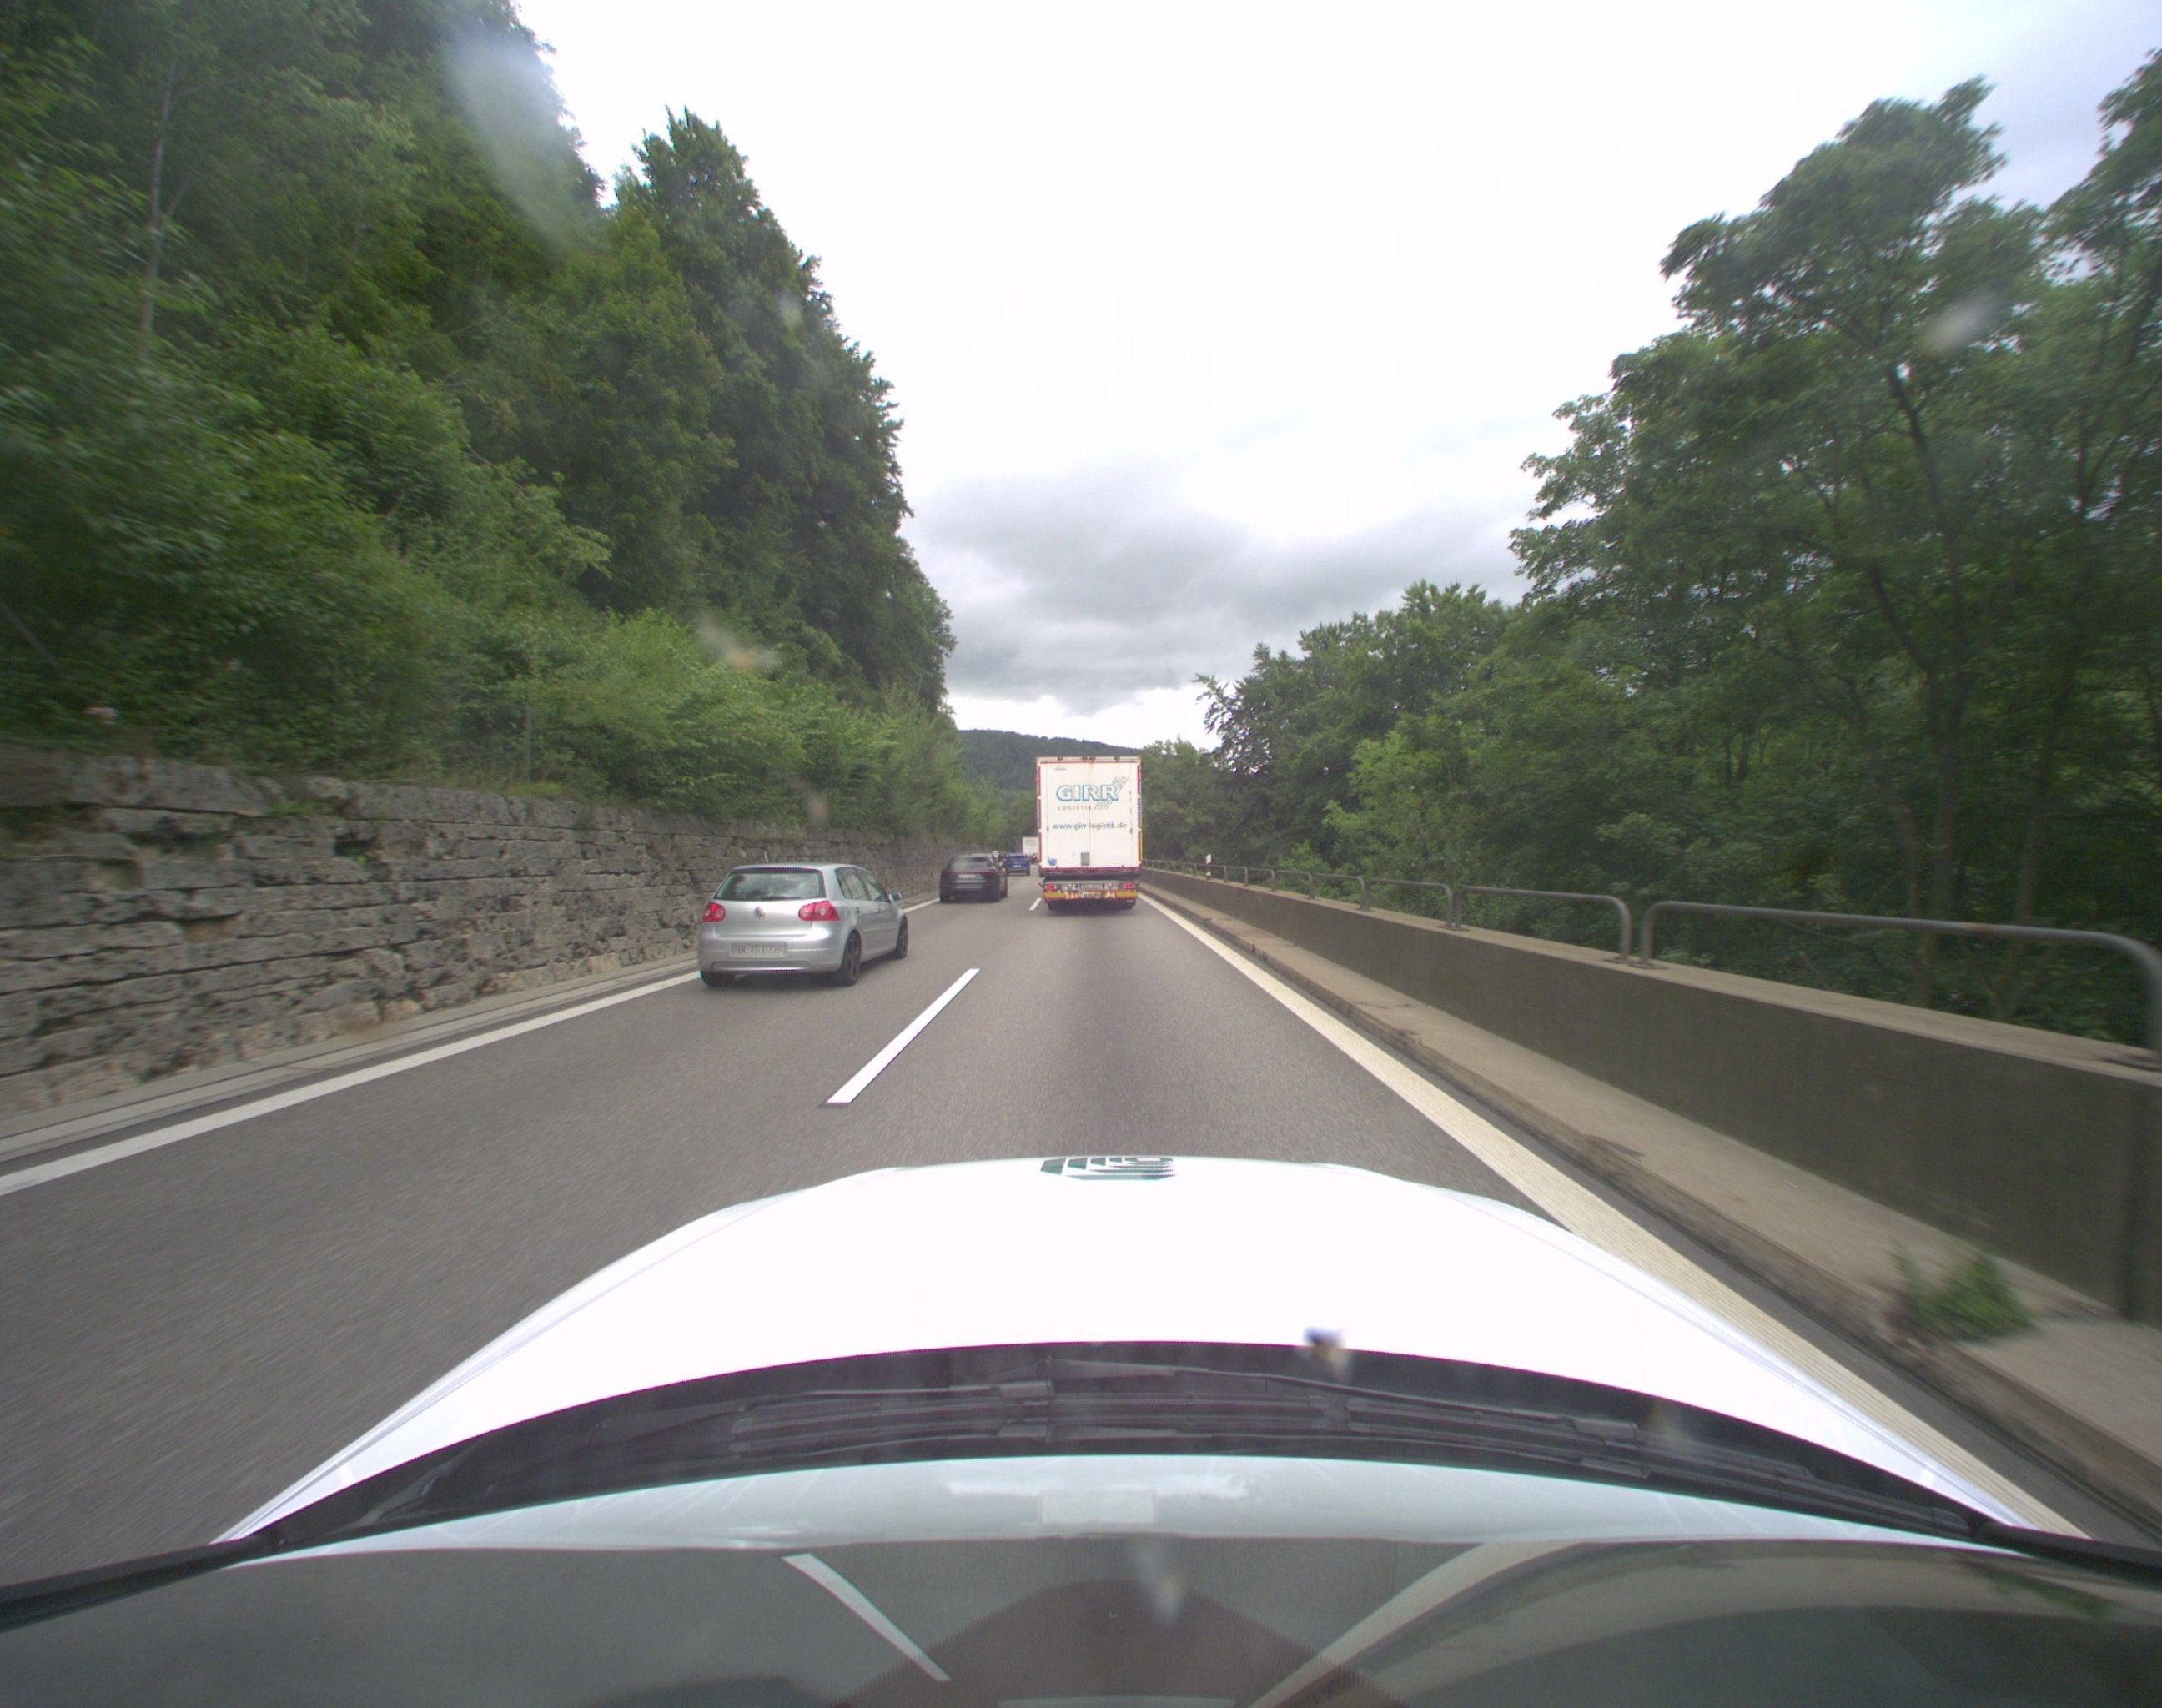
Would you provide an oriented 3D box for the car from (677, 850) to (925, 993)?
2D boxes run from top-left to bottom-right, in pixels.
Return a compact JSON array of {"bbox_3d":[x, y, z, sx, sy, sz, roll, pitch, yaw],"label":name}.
[{"bbox_3d":[-3.473,0.787,11.109,1.675,1.515,4.583,1,-1,1],"label":"car"}]

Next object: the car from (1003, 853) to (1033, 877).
[{"bbox_3d":[-4.731,0.774,60.642,1.992,1.632,4.995,0,0,-7],"label":"car"}]

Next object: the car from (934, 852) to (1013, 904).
[{"bbox_3d":[-3.616,0.773,28.316,1.987,1.632,5.008,-1,0,0],"label":"car"}]

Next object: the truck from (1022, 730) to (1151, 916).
[{"bbox_3d":[0.198,-0.713,27.301,3.074,4.464,15.154,-1,0,0],"label":"truck"}]

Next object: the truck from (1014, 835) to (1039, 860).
[{"bbox_3d":[-8.928,-0.924,131.841,2.635,3.857,12.311,-1,0,-11],"label":"truck"}]

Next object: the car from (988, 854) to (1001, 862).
[{"bbox_3d":[-17.510,0.781,164.791,1.899,1.550,4.229,1,0,-14],"label":"car"}]

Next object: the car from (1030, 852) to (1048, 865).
[{"bbox_3d":[-5.706,0.615,109.781,2.059,1.654,3.989,-1,0,-8],"label":"car"}]

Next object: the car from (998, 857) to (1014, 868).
[{"bbox_3d":[-12.082,1.340,130.880,1.995,1.596,4.335,-2,0,-12],"label":"car"}]
